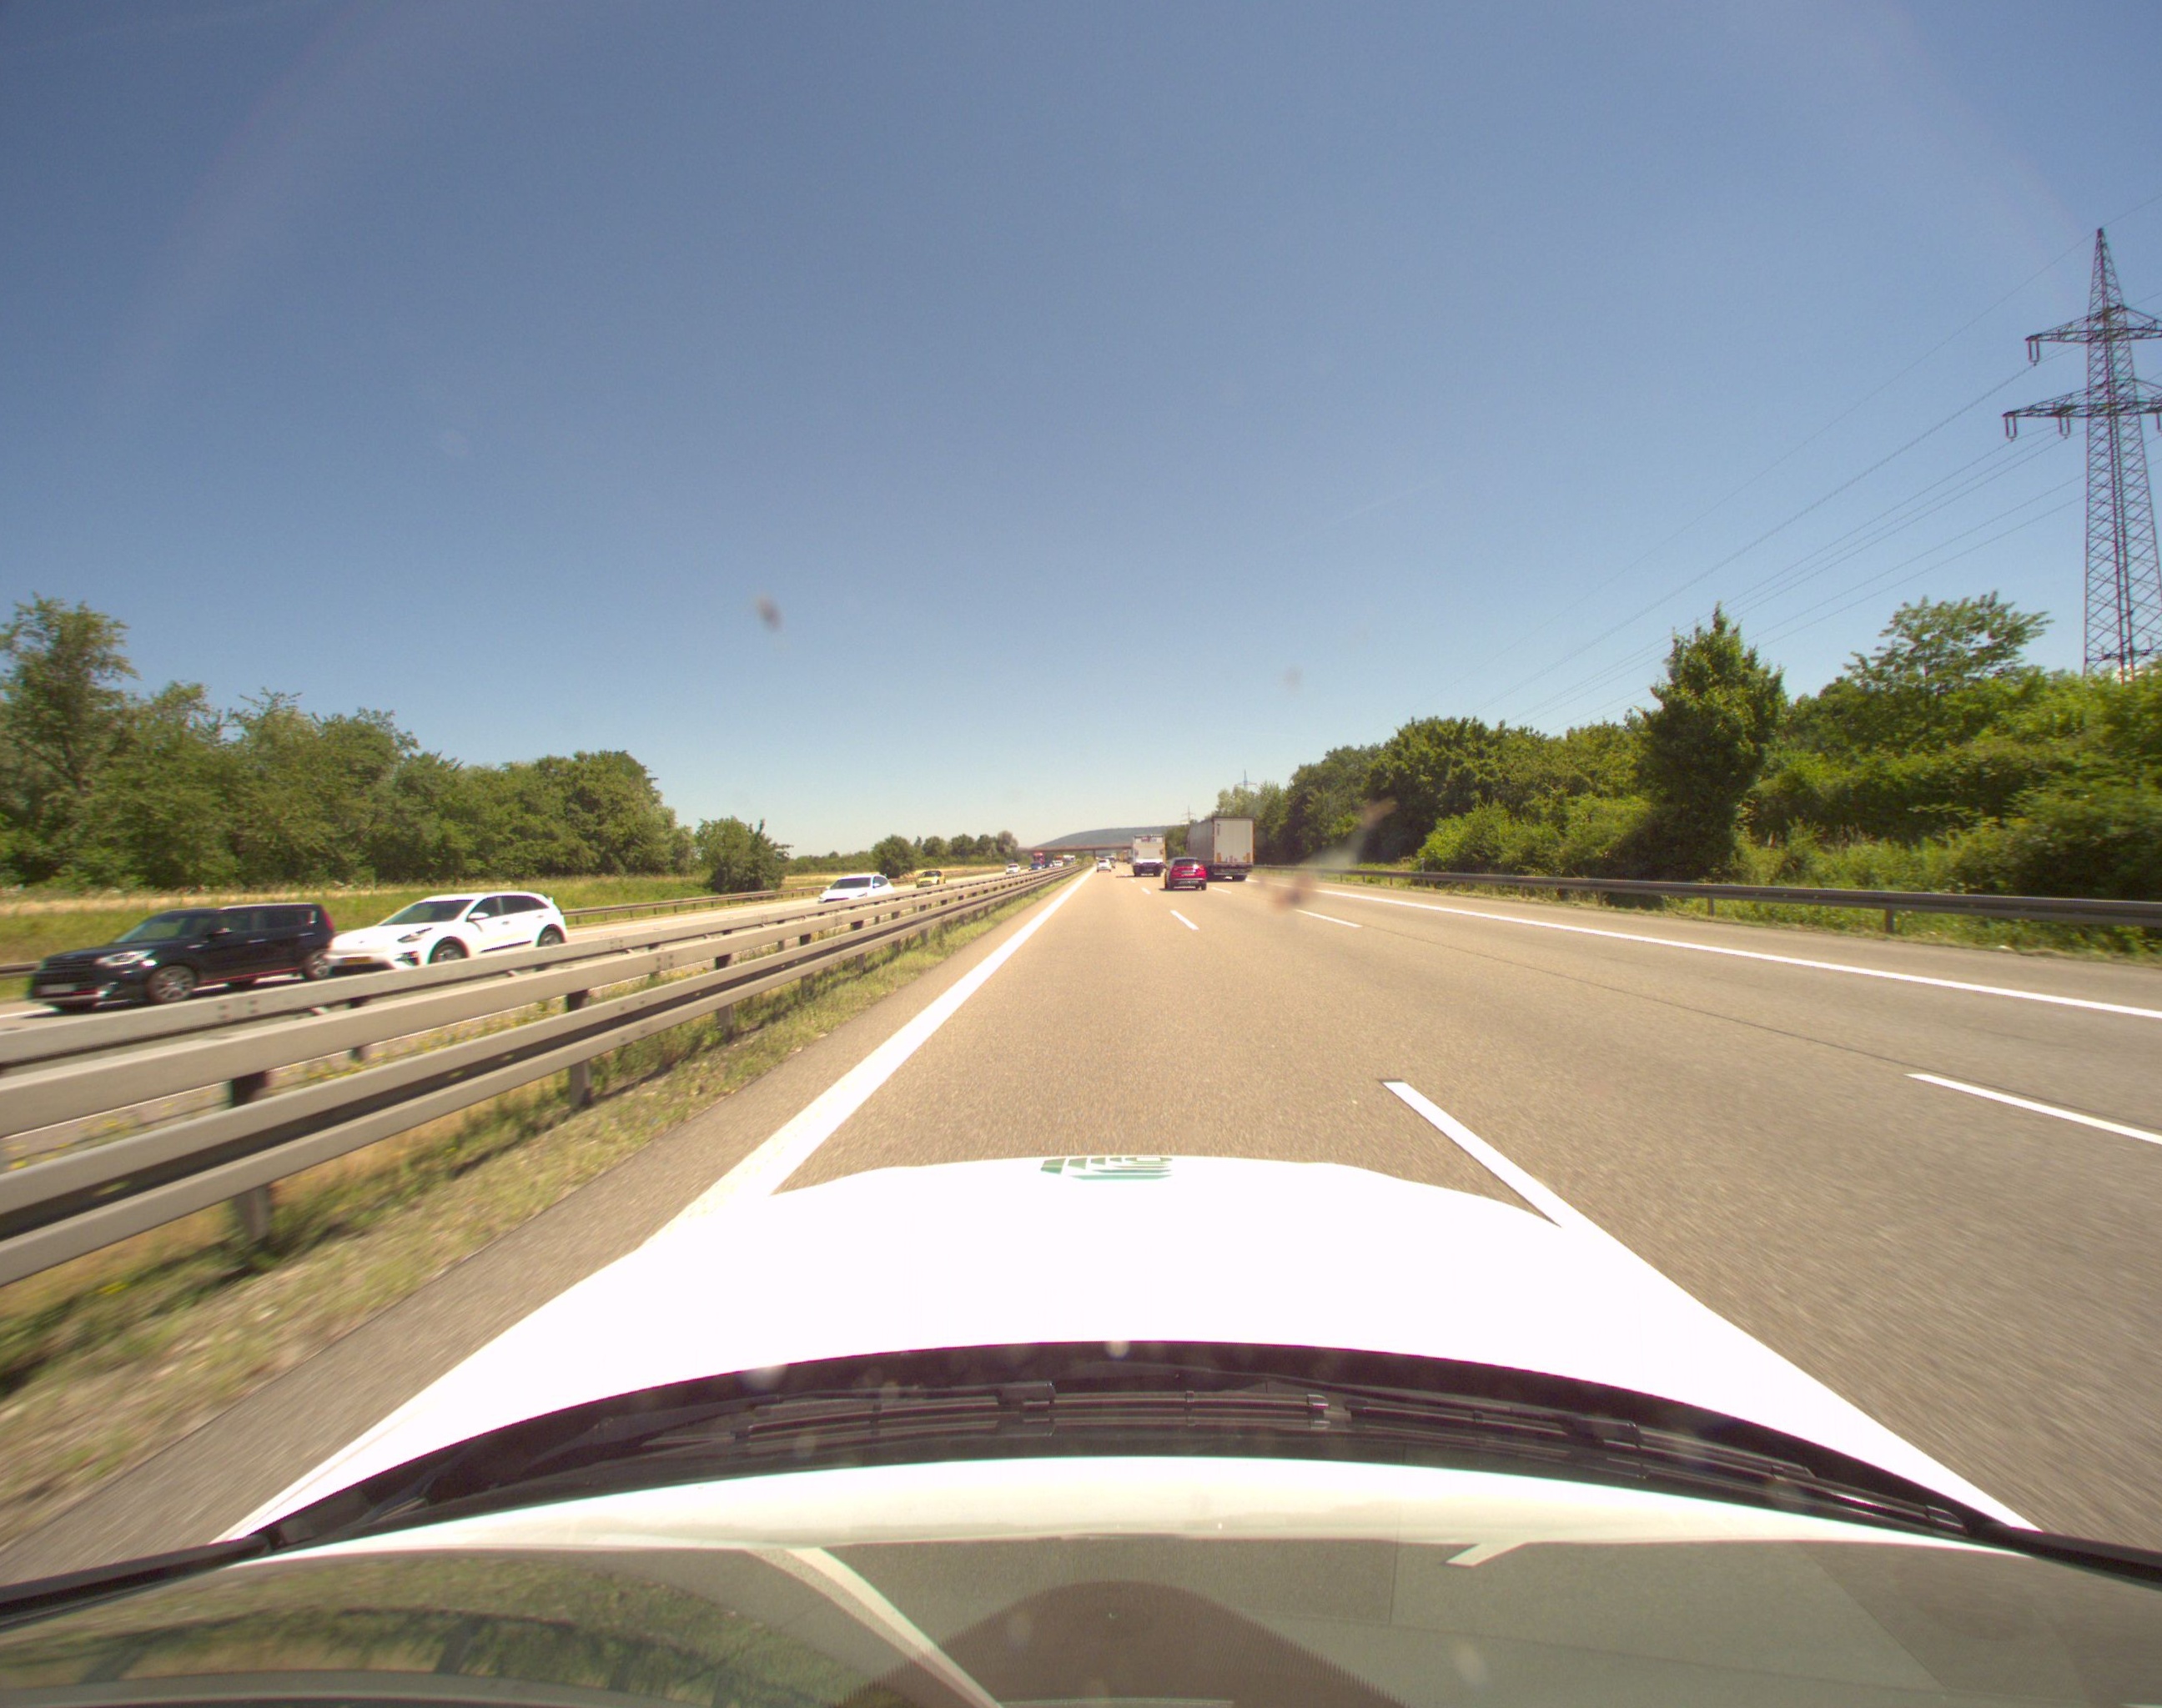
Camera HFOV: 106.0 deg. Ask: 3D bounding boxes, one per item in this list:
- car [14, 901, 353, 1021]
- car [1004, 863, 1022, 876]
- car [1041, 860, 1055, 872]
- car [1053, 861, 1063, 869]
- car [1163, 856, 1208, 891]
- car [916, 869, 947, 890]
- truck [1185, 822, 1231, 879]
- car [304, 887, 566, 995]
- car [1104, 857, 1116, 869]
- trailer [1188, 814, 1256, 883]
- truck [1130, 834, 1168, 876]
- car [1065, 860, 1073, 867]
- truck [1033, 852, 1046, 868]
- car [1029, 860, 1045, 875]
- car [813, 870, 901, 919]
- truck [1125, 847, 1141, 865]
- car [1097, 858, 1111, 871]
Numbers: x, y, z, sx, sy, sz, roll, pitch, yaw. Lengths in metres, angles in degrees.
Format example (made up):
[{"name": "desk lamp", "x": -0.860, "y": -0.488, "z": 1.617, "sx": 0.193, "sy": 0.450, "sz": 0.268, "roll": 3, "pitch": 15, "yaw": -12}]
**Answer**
[{"name": "car", "x": -16.062, "y": 1.823, "z": 14.934, "sx": 1.726, "sy": 1.594, "sz": 3.904, "roll": -4, "pitch": 0, "yaw": 2}, {"name": "car", "x": -9.358, "y": 2.100, "z": 112.292, "sx": 1.872, "sy": 1.566, "sz": 4.193, "roll": -3, "pitch": 0, "yaw": 2}, {"name": "car", "x": -5.345, "y": 1.928, "z": 132.156, "sx": 1.952, "sy": 1.772, "sz": 4.444, "roll": -3, "pitch": 0, "yaw": 2}, {"name": "car", "x": -4.835, "y": 2.235, "z": 171.753, "sx": 1.802, "sy": 1.536, "sz": 3.962, "roll": -3, "pitch": 0, "yaw": 1}, {"name": "car", "x": 4.984, "y": 0.907, "z": 39.270, "sx": 1.796, "sy": 1.545, "sz": 4.001, "roll": -1, "pitch": 0, "yaw": 2}, {"name": "car", "x": -11.516, "y": 1.958, "z": 63.059, "sx": 1.576, "sy": 1.428, "sz": 3.478, "roll": -3, "pitch": 0, "yaw": 2}, {"name": "truck", "x": 9.884, "y": -0.254, "z": 63.673, "sx": 2.784, "sy": 4.164, "sz": 5.725, "roll": -2, "pitch": -1, "yaw": 2}, {"name": "car", "x": -12.252, "y": 1.562, "z": 15.829, "sx": 1.829, "sy": 1.585, "sz": 3.890, "roll": -4, "pitch": 0, "yaw": 2}, {"name": "car", "x": 4.543, "y": 1.404, "z": 128.555, "sx": 1.754, "sy": 1.850, "sz": 4.002, "roll": -2, "pitch": 0, "yaw": 2}, {"name": "trailer", "x": 9.615, "y": -0.289, "z": 57.034, "sx": 2.778, "sy": 4.164, "sz": 13.580, "roll": -2, "pitch": 0, "yaw": 2}, {"name": "truck", "x": 5.774, "y": 0.144, "z": 70.109, "sx": 2.772, "sy": 3.373, "sz": 8.130, "roll": -1, "pitch": -1, "yaw": 2}, {"name": "car", "x": -3.064, "y": 2.397, "z": 208.689, "sx": 1.802, "sy": 1.647, "sz": 3.962, "roll": -3, "pitch": 0, "yaw": 1}, {"name": "truck", "x": -10.654, "y": 1.592, "z": 210.687, "sx": 2.751, "sy": 4.014, "sz": 5.752, "roll": -4, "pitch": 0, "yaw": 1}, {"name": "car", "x": -5.831, "y": 1.778, "z": 107.825, "sx": 1.761, "sy": 1.750, "sz": 3.987, "roll": -3, "pitch": 0, "yaw": 2}, {"name": "car", "x": -7.980, "y": 1.401, "z": 29.440, "sx": 1.788, "sy": 1.492, "sz": 4.239, "roll": -4, "pitch": 0, "yaw": 2}, {"name": "truck", "x": 13.947, "y": 0.516, "z": 220.337, "sx": 3.507, "sy": 4.416, "sz": 14.596, "roll": -3, "pitch": -1, "yaw": 2}, {"name": "car", "x": 2.728, "y": 1.229, "z": 96.463, "sx": 1.601, "sy": 1.467, "sz": 4.002, "roll": -2, "pitch": 0, "yaw": 2}]
